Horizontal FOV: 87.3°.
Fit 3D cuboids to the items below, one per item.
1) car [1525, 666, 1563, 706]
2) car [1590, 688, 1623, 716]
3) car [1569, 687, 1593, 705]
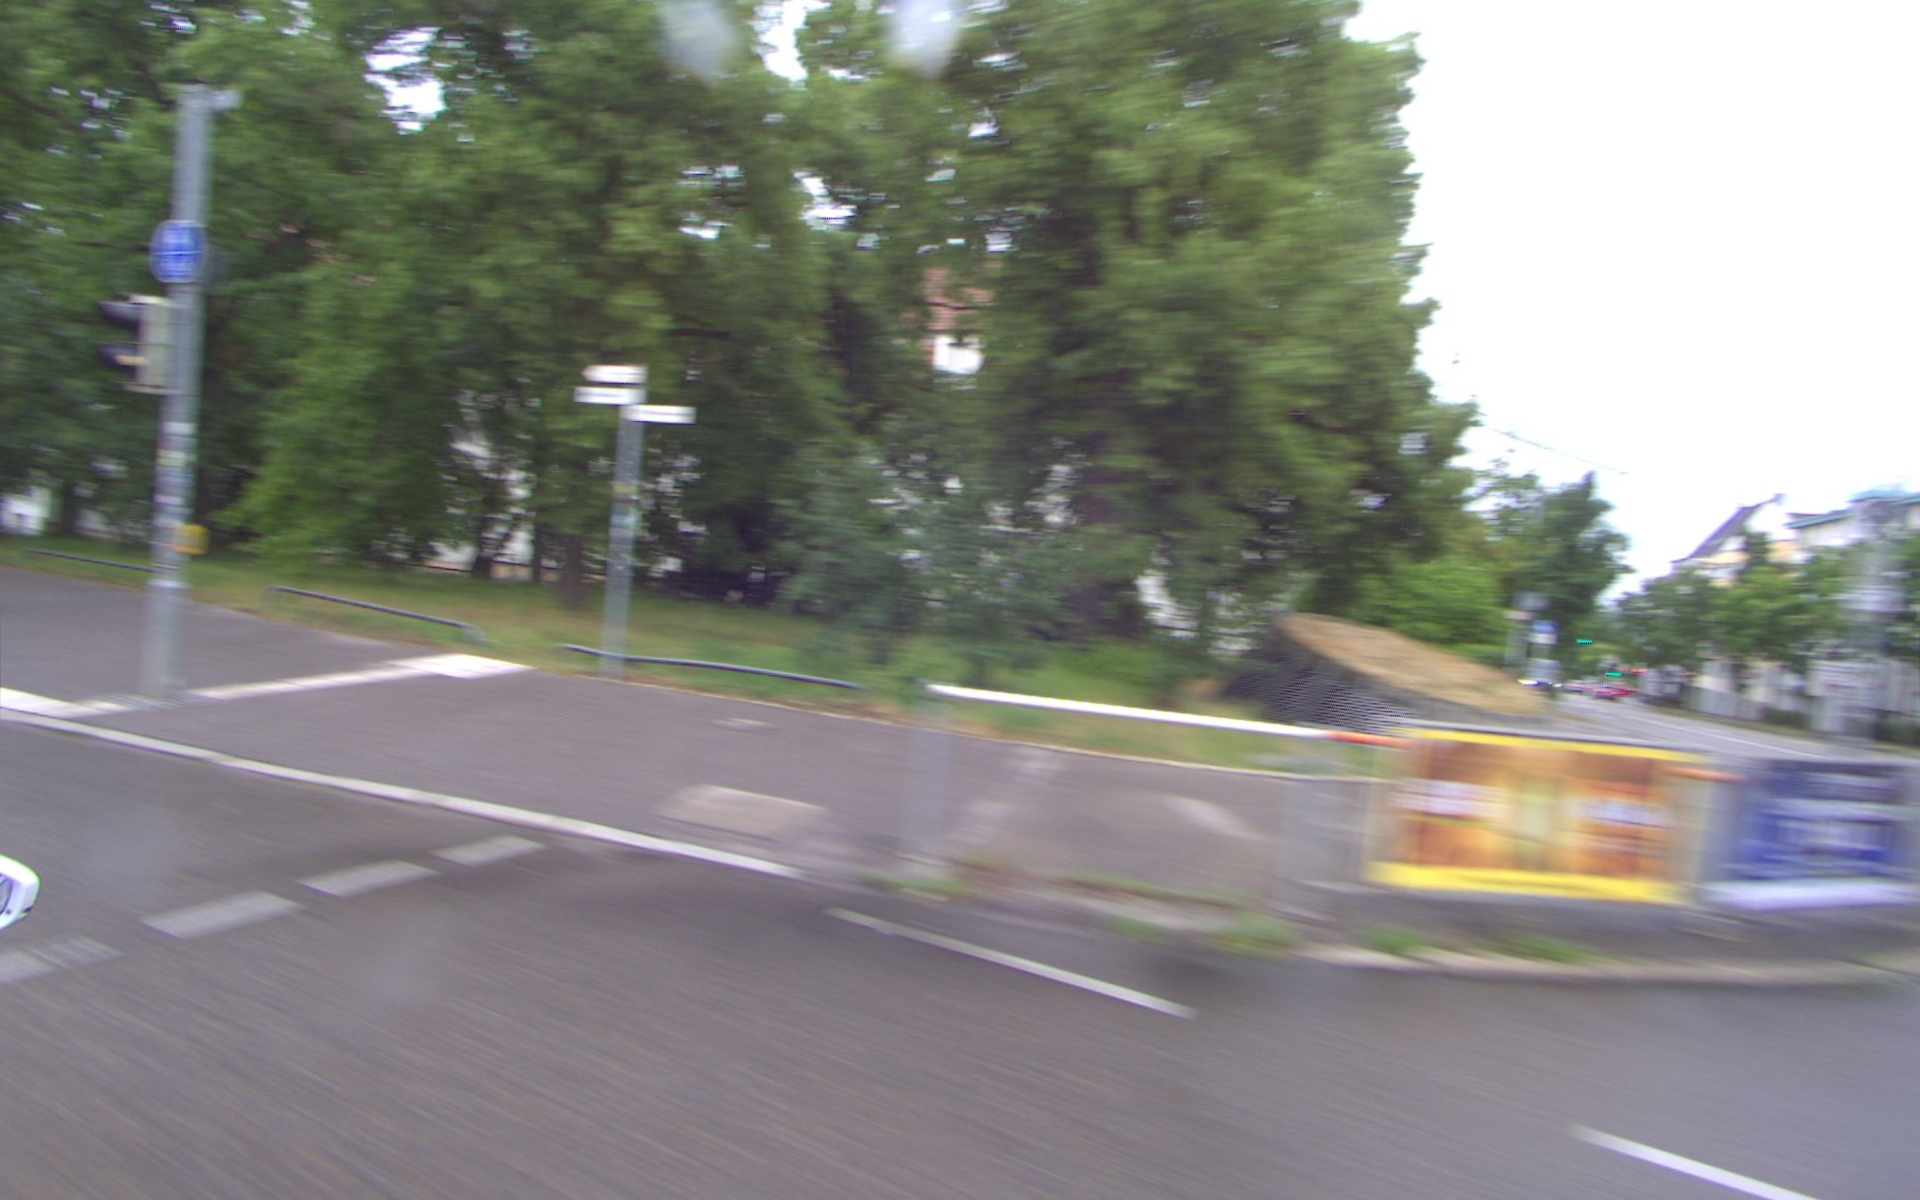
[{"bbox_3d":[38.211,5.574,65.896,1.809,2.240,3.992,7,1,29],"label":"car"},{"bbox_3d":[57.375,9.007,89.375,1.966,2.039,3.992,7,1,29],"label":"car"},{"bbox_3d":[63.919,9.822,103.589,1.751,1.457,3.864,7,1,29],"label":"car"}]
